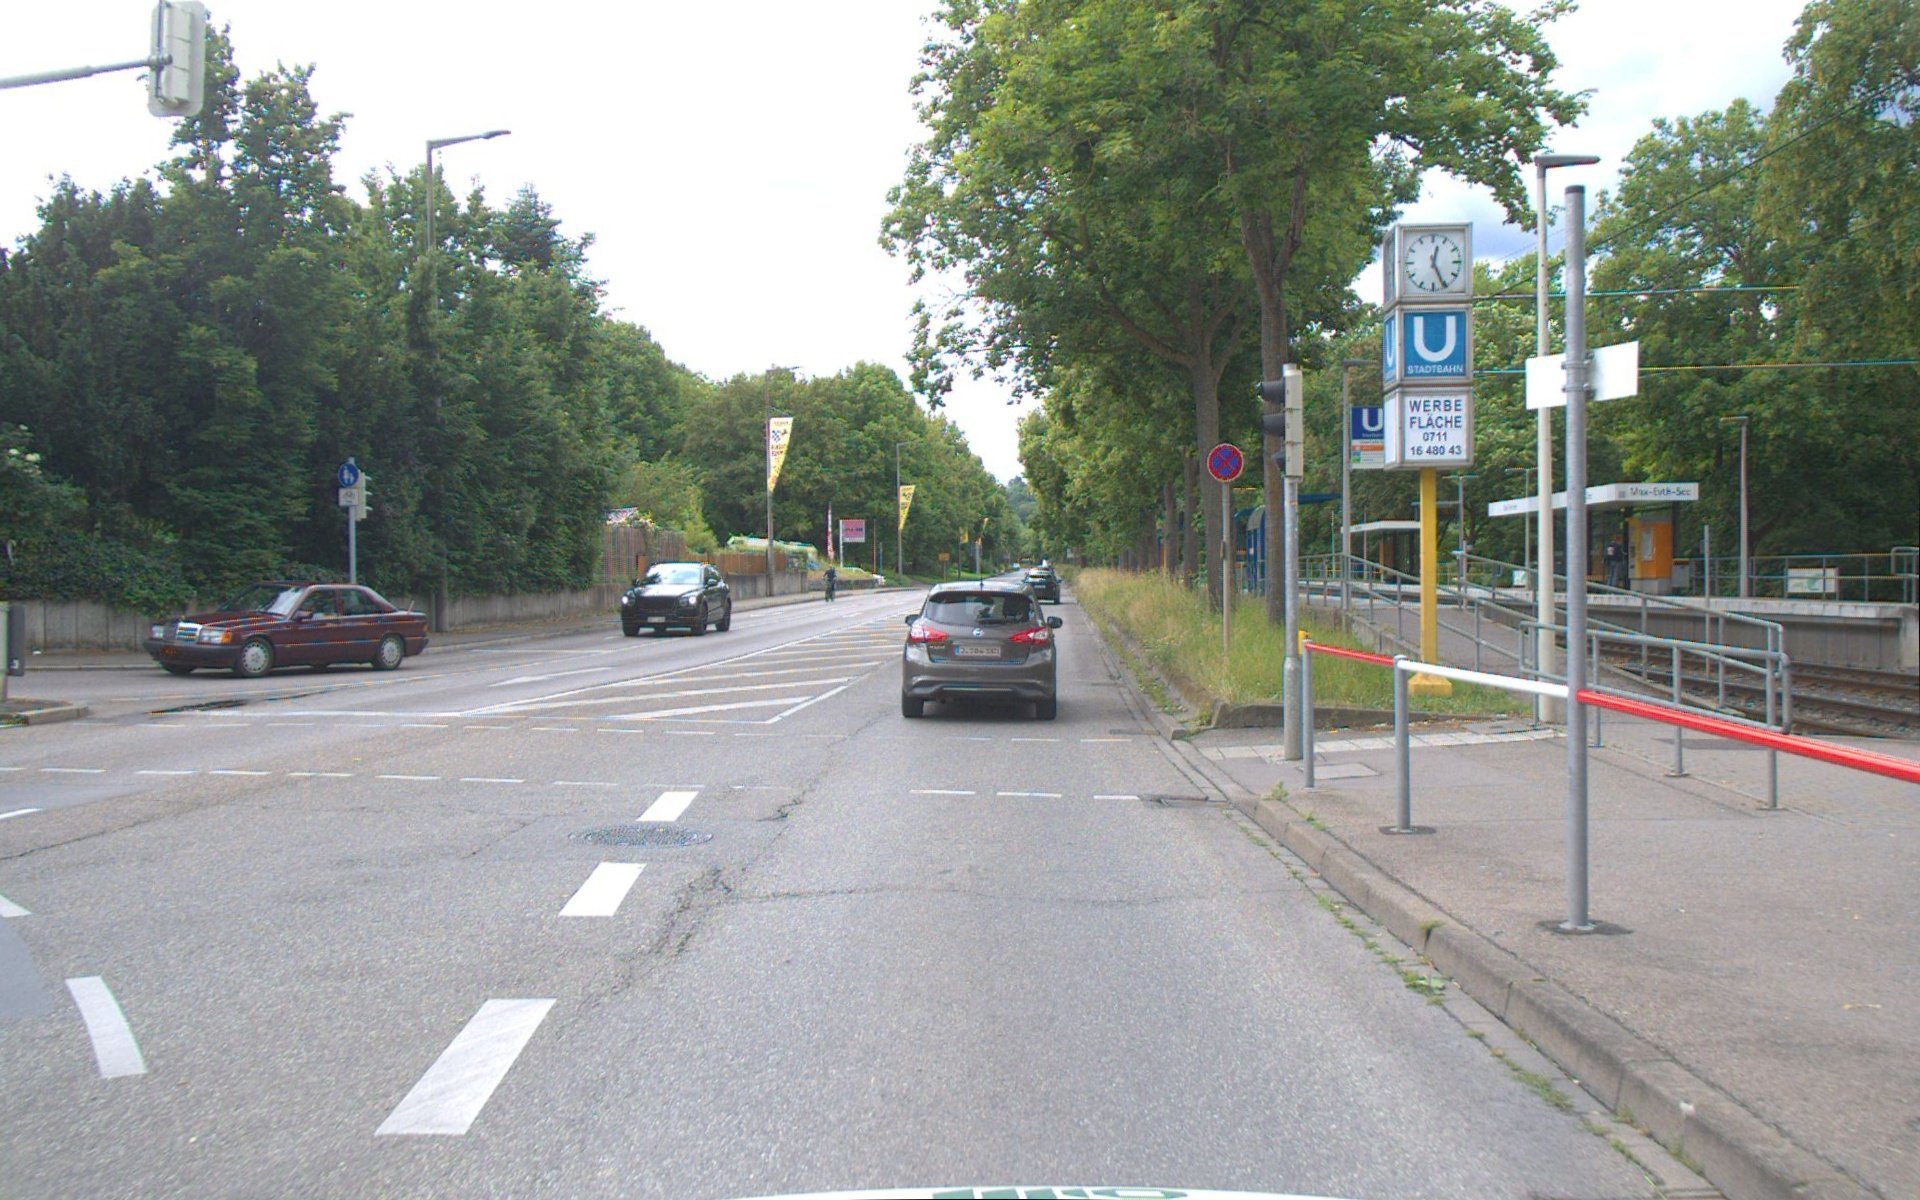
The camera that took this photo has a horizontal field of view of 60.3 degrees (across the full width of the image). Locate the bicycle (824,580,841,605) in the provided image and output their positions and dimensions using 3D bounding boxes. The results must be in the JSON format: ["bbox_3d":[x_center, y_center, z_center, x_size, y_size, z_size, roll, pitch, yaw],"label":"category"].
[{"bbox_3d":[-6.133,-0.366,79.567,0.629,1.165,2.147,1,1,-1],"label":"bicycle"}]

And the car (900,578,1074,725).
[{"bbox_3d":[0.422,0.532,19.780,1.798,1.555,3.931,1,1,5],"label":"car"}]

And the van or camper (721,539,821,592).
[{"bbox_3d":[-14.488,-2.678,127.237,6.994,3.428,2.798,5,1,3],"label":"van or camper"}]

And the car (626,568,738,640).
[{"bbox_3d":[-6.906,0.070,41.622,1.862,1.708,5.081,0,0,1],"label":"car"}]

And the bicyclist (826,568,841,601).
[{"bbox_3d":[-6.088,-0.744,79.509,0.629,1.562,0.978,1,1,-1],"label":"bicyclist"}]

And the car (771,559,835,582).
[{"bbox_3d":[-10.297,-1.941,108.853,3.902,1.435,1.535,1,0,8],"label":"car"}]

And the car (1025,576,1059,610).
[{"bbox_3d":[3.884,-0.343,78.089,1.471,1.555,3.673,1,1,5],"label":"car"}]

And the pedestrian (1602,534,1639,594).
[{"bbox_3d":[17.183,-0.927,43.042,0.703,1.537,0.724,1,0,6],"label":"pedestrian"}]

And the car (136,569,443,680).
[{"bbox_3d":[-9.918,0.340,24.849,1.706,1.490,4.341,1,0,23],"label":"car"}]

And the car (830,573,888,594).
[{"bbox_3d":[-7.739,-1.266,127.069,4.284,1.466,1.962,1,1,1],"label":"car"}]

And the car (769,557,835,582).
[{"bbox_3d":[-10.180,-1.983,106.973,3.902,1.523,1.861,1,0,8],"label":"car"}]
